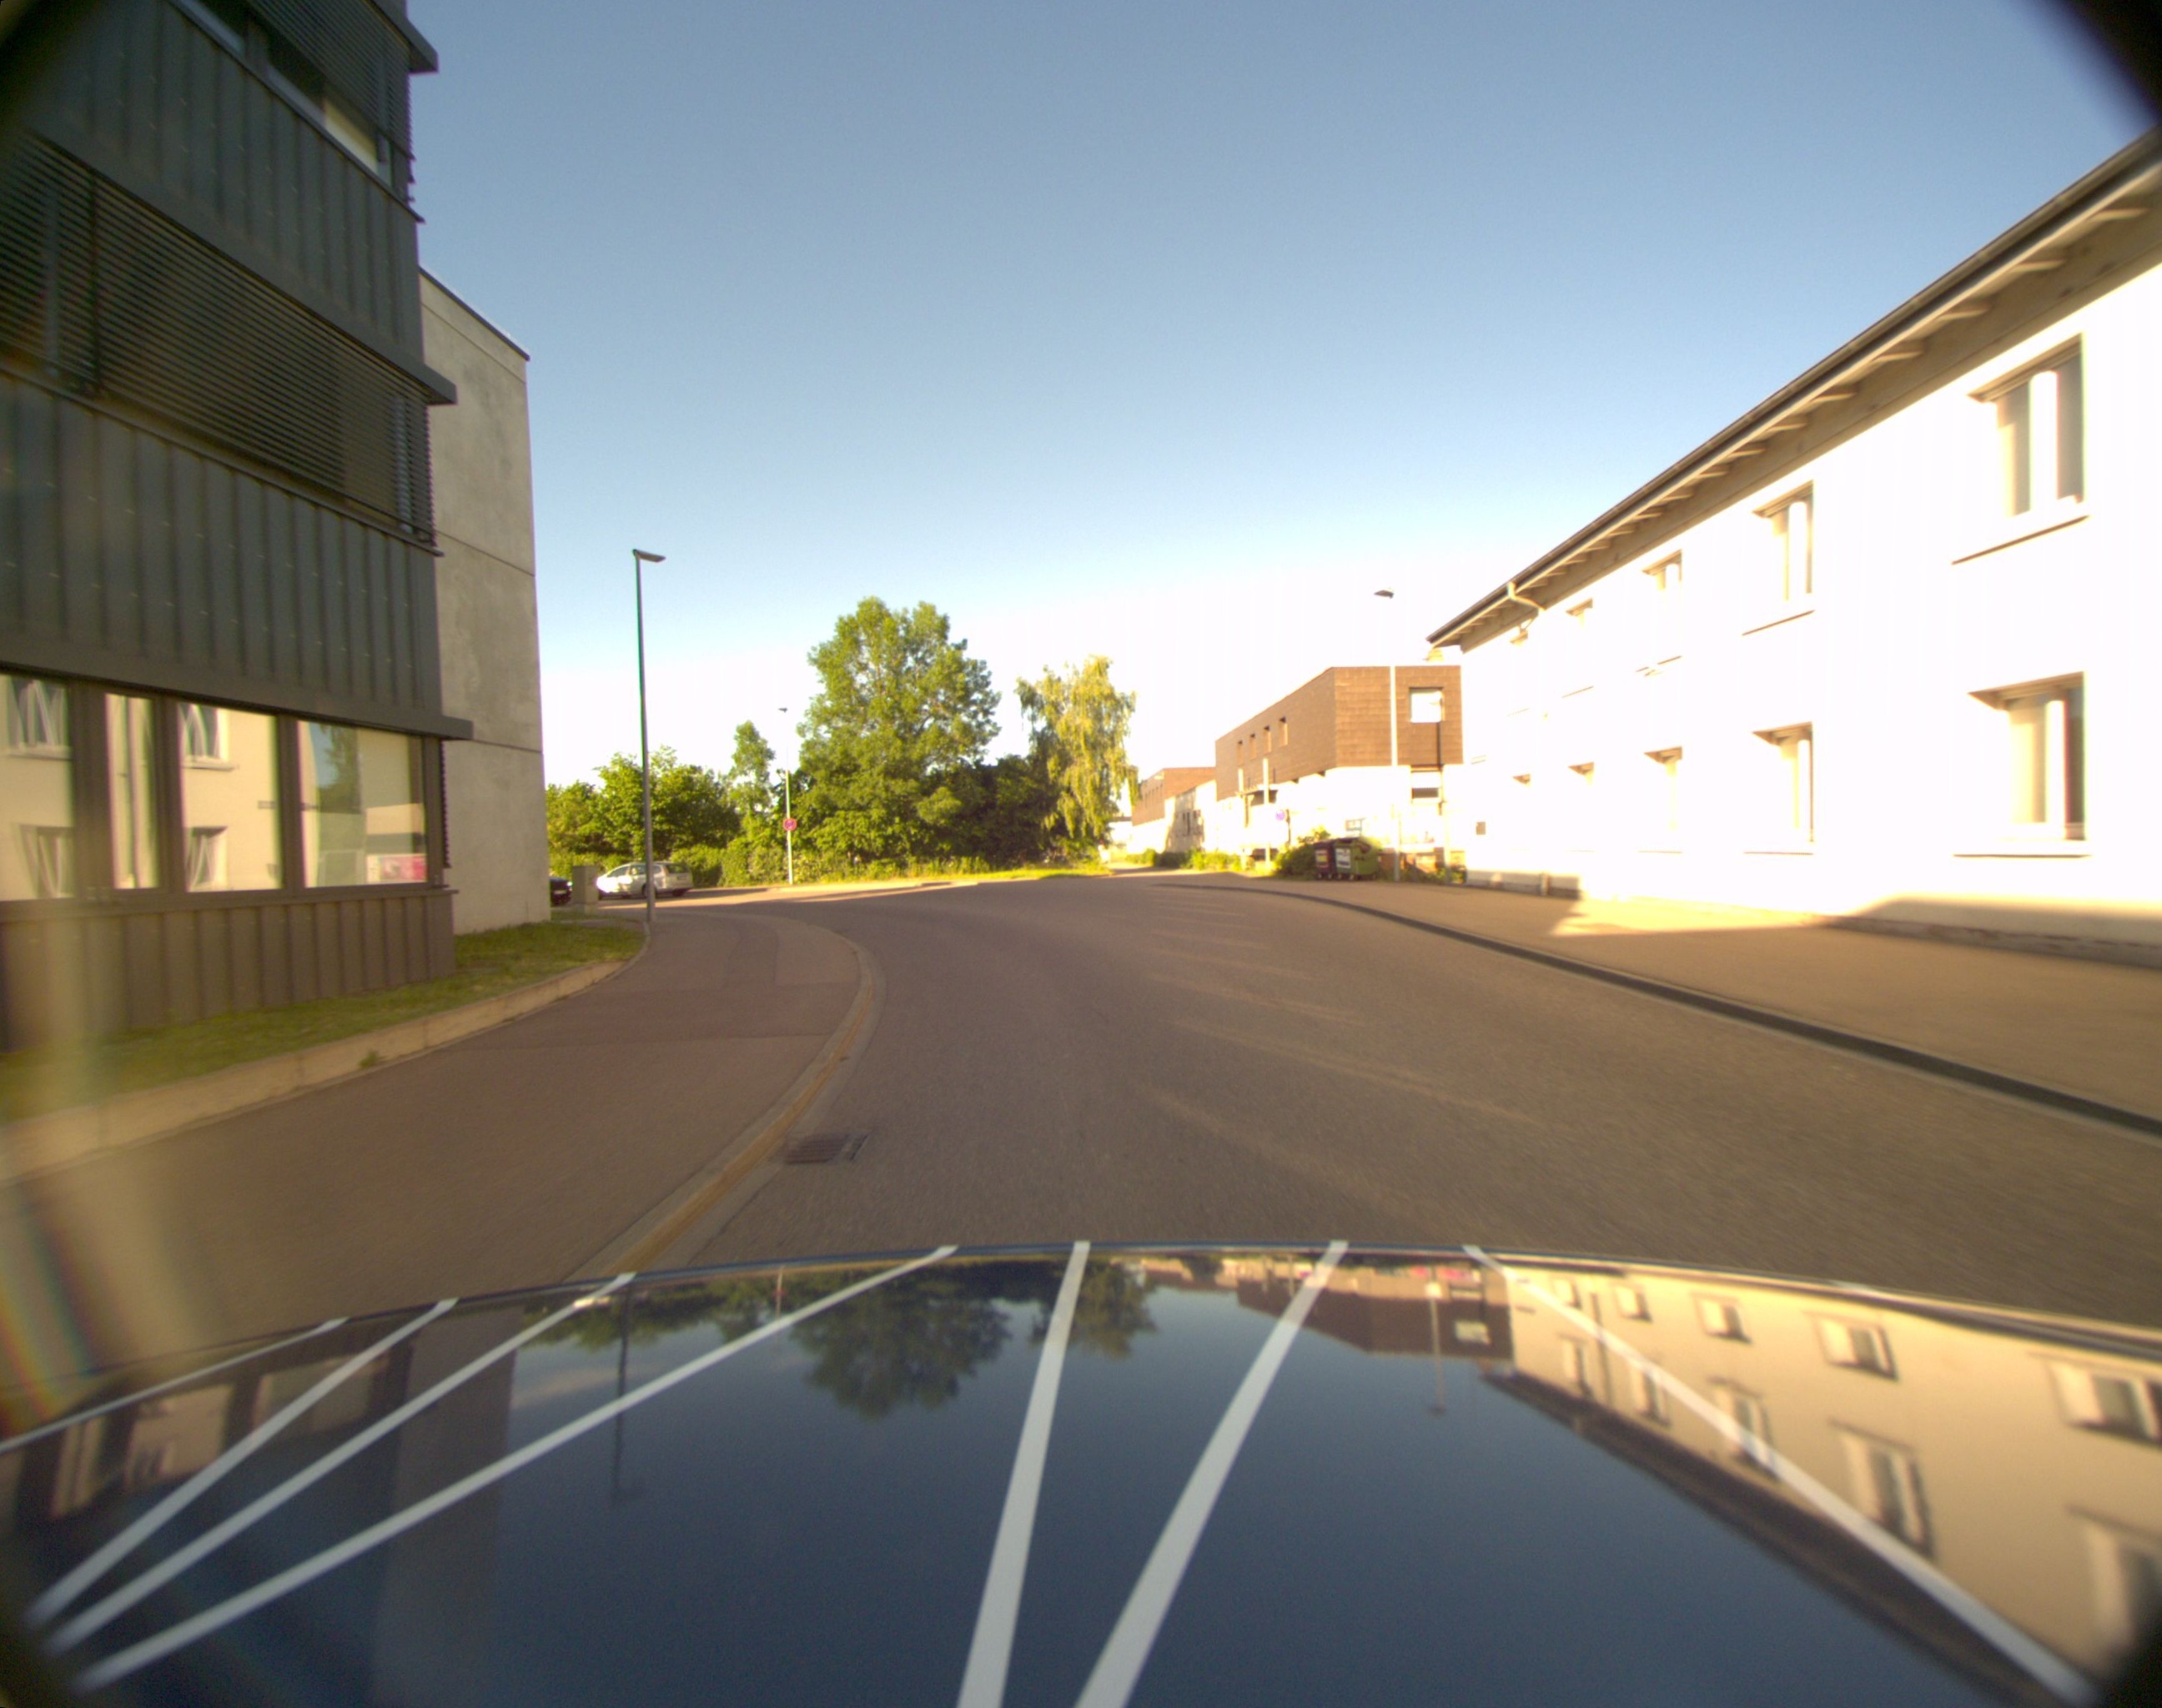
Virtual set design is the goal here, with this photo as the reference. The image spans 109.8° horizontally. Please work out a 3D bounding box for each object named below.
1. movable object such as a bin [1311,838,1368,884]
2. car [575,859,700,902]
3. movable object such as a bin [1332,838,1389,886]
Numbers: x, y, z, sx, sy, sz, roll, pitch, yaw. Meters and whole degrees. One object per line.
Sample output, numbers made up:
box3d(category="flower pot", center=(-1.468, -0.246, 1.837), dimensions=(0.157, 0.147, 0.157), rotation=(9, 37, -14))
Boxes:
box3d(category="movable object such as a bin", center=(8.753, 0.224, 25.754), dimensions=(1.364, 1.463, 1.288), rotation=(-2, 1, -8))
box3d(category="car", center=(-18.502, 1.095, 31.737), dimensions=(4.493, 1.497, 1.745), rotation=(-2, 4, 15))
box3d(category="movable object such as a bin", center=(8.943, 0.232, 24.384), dimensions=(1.202, 1.463, 1.372), rotation=(-2, 1, -8))
